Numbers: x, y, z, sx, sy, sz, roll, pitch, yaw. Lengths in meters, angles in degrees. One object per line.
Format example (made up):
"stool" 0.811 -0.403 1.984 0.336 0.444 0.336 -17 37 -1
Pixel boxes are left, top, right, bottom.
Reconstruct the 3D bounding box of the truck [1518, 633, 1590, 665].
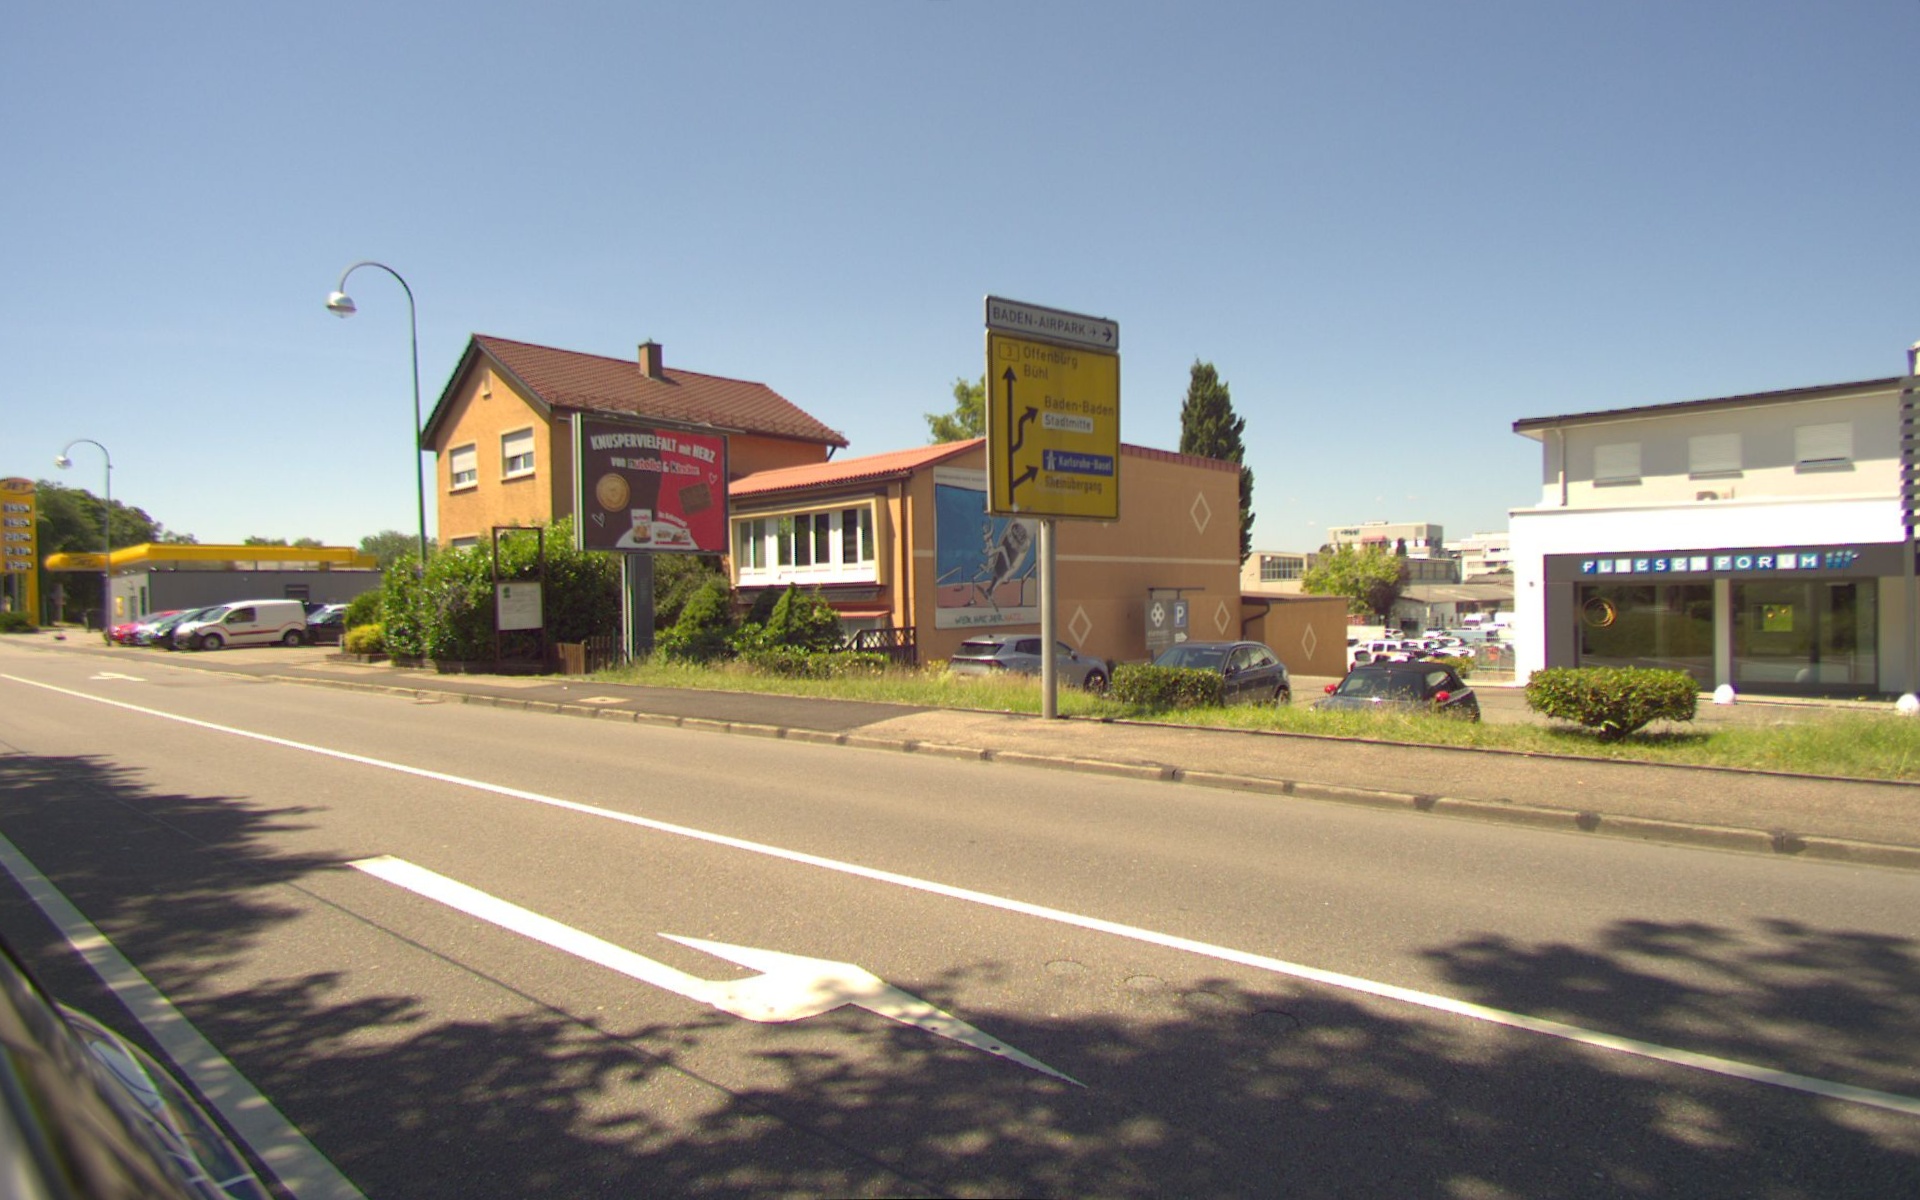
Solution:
"truck" 40.302 3.312 68.656 3.982 1.992 1.663 0 1 41

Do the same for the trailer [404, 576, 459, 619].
"trailer" -41.615 -0.153 79.624 5.911 3.244 1.845 -1 -1 41

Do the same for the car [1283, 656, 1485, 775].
"car" 6.620 1.682 15.666 1.781 1.434 3.300 -1 -1 45

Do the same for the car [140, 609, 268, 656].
"car" -29.473 1.236 39.523 1.920 1.685 3.628 0 0 38

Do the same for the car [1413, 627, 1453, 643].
"car" 44.996 3.343 96.233 3.125 1.395 1.663 0 0 41

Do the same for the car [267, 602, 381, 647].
"car" -28.053 1.039 44.712 1.998 1.875 3.864 -1 -1 39

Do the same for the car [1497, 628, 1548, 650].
"car" 42.246 2.913 76.025 3.125 1.545 1.663 0 0 41

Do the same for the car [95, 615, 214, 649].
"car" -37.804 1.477 47.566 1.825 1.455 4.084 0 0 40

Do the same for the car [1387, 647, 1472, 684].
"car" 24.985 3.456 53.916 3.816 1.740 1.729 0 0 41

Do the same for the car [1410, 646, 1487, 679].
"car" 26.865 3.400 55.686 3.466 1.604 1.702 0 0 41

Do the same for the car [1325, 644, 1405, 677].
"car" 23.439 3.478 58.657 3.998 1.665 1.725 0 0 41

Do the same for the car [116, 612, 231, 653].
"car" -34.222 1.366 44.077 1.879 1.617 3.628 0 0 38

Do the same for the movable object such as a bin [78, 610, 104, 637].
"movable object such as a bin" -54.585 1.476 63.566 1.427 1.528 0.942 -2 3 42

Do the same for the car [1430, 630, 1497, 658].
"car" 36.283 3.144 72.950 3.998 1.829 1.973 -1 -1 41

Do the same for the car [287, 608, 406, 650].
"car" -26.152 1.192 43.250 1.828 1.580 3.948 -1 1 39

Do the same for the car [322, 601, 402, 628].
"car" -37.162 0.886 62.903 1.754 1.596 3.944 0 0 42

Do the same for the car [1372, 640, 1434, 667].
"car" 28.261 3.412 64.565 3.320 1.558 1.509 0 0 41

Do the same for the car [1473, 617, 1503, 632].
"car" 59.322 2.706 113.582 2.000 1.608 3.943 0 0 43

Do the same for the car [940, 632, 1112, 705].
"car" 1.595 1.527 23.573 3.979 1.462 1.781 0 -1 -43

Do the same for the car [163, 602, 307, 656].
"car" -27.549 1.056 38.562 1.996 1.912 4.057 0 0 36

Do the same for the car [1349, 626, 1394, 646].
"car" 34.206 2.984 84.093 3.220 1.488 1.350 0 0 41

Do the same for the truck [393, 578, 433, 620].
"truck" -44.330 -0.063 82.028 3.188 3.267 1.826 -2 -1 41

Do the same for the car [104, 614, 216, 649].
"car" -36.167 1.394 45.804 1.890 1.468 3.628 0 0 38

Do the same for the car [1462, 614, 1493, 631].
"car" 61.186 2.633 119.634 3.939 1.843 2.002 -1 0 -43

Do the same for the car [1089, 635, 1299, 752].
"car" 4.372 1.572 18.486 1.895 1.699 4.285 0 0 42

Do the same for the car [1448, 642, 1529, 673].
"car" 31.551 3.392 60.422 3.998 1.648 1.824 -1 0 41

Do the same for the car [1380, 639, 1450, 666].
"car" 30.746 3.520 68.415 3.998 1.617 1.813 0 0 41

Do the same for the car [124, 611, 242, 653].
"car" -32.733 1.314 42.701 1.920 1.593 3.628 0 0 38

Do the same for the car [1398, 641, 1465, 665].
"car" 33.460 3.766 71.839 3.998 1.486 1.733 0 0 41

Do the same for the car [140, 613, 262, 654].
"car" -30.933 1.320 41.312 1.920 1.543 3.628 0 0 38
